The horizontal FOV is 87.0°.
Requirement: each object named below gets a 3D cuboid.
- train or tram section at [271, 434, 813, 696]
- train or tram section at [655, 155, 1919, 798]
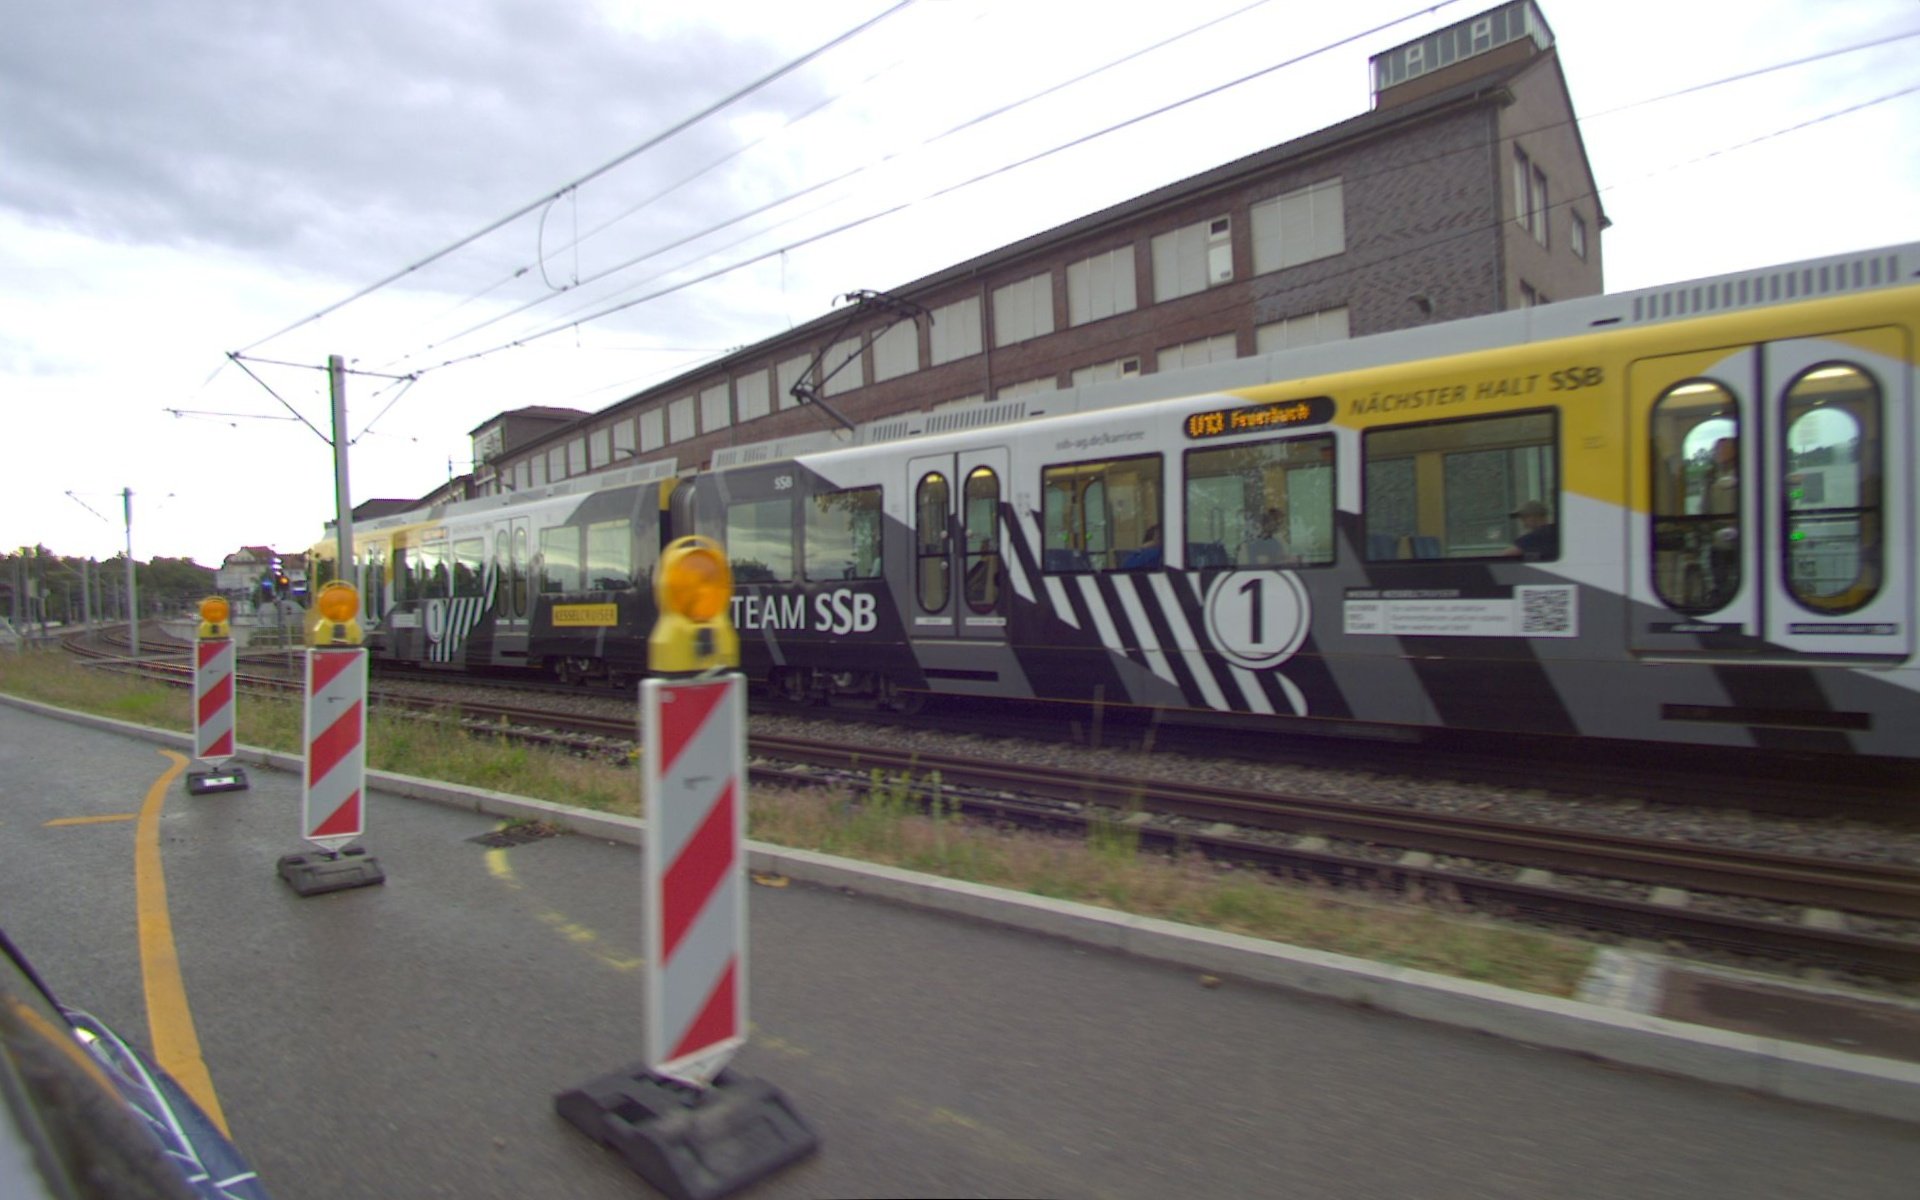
[{"bbox_3d":[-10.841,-0.447,22.763,19.565,3.915,2.924,-1,2,42],"label":"train or tram section"},{"bbox_3d":[3.754,-0.742,9.930,19.278,3.915,2.925,-1,2,41],"label":"train or tram section"}]
